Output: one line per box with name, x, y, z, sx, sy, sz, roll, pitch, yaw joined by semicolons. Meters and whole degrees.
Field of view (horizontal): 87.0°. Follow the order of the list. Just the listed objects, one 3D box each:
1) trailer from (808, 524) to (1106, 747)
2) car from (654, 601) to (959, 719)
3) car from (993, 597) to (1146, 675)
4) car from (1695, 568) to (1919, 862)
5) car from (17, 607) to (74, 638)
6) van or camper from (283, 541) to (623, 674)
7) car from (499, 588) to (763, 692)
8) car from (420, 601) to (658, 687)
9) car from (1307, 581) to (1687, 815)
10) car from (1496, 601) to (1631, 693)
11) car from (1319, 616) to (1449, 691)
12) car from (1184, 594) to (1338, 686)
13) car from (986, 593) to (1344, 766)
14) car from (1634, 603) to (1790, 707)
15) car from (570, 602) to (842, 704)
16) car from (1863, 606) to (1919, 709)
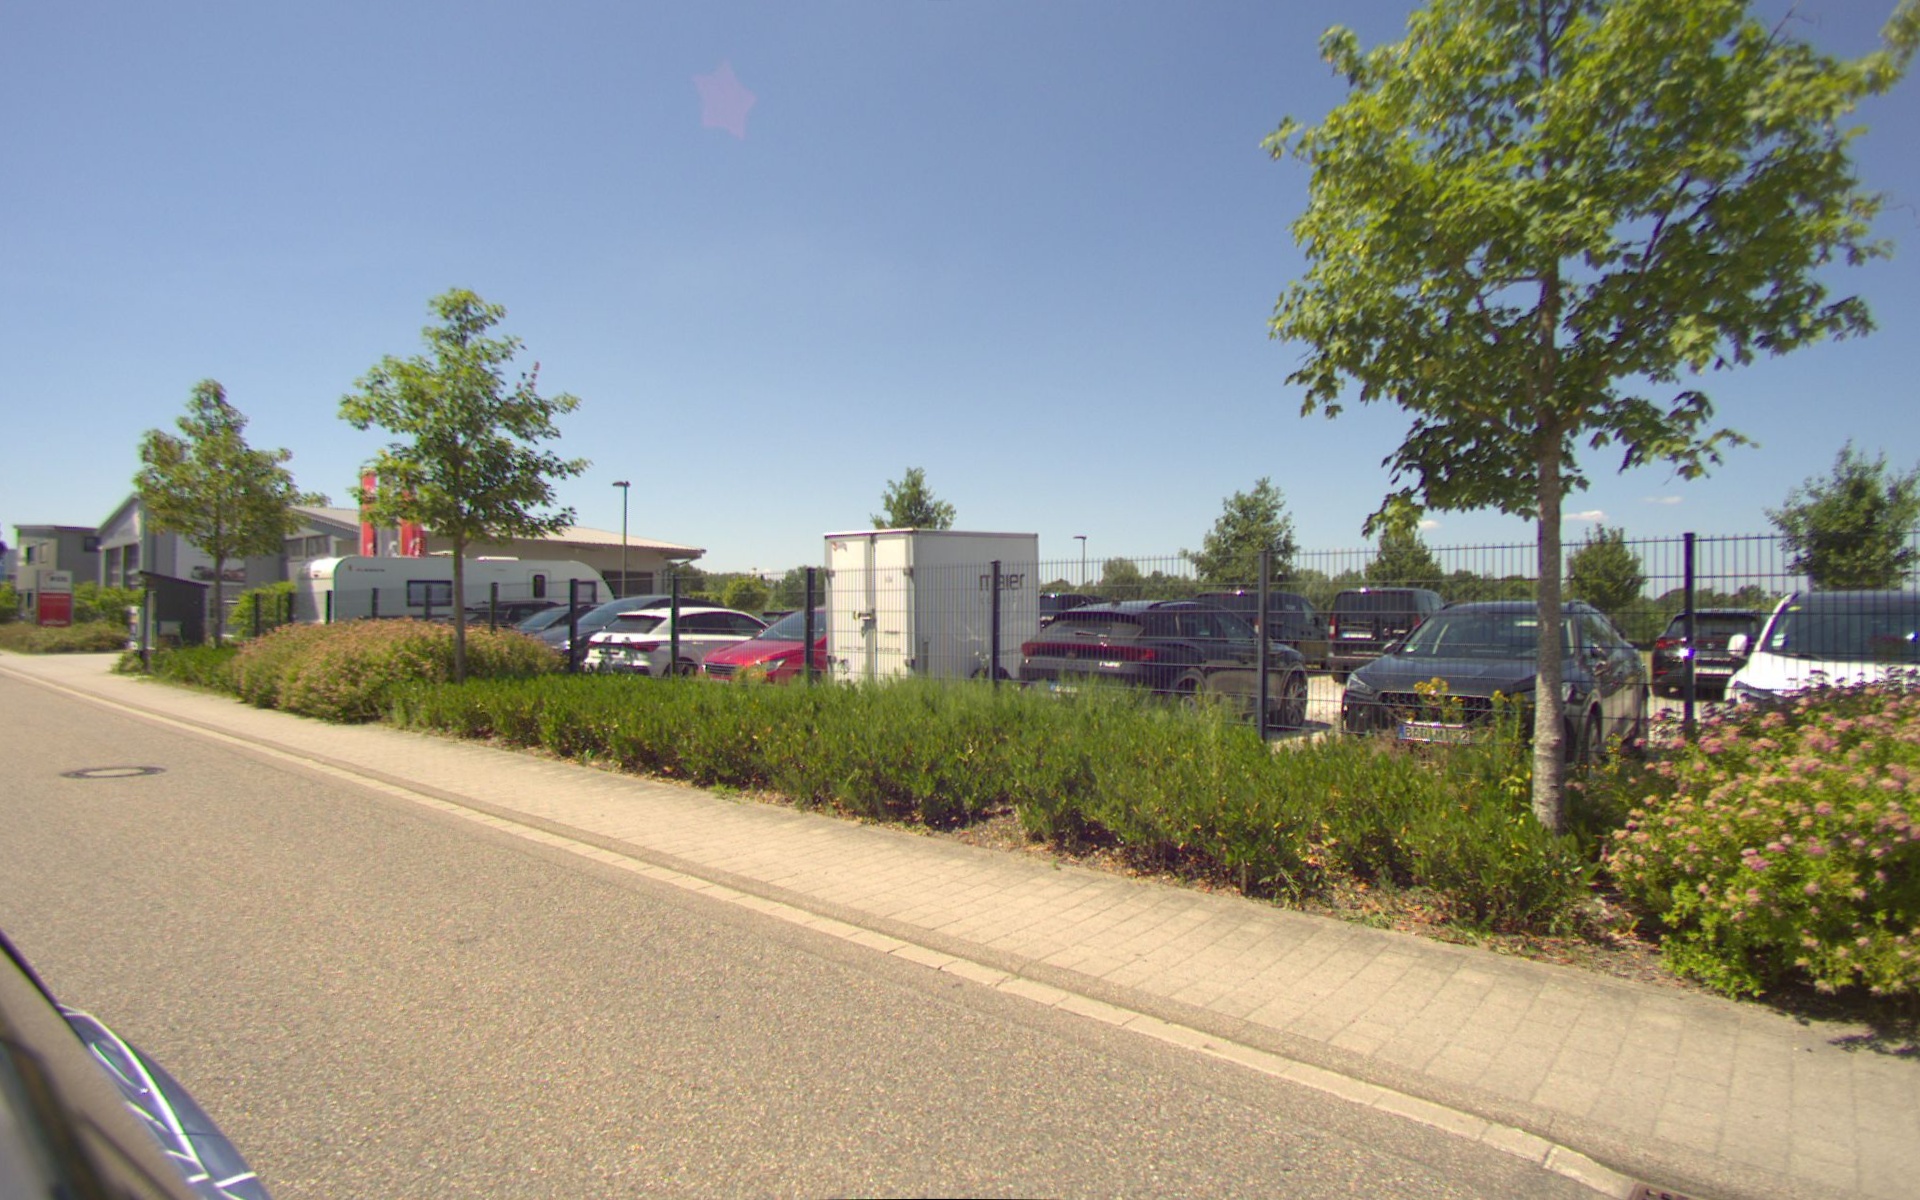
trailer;0.111;0.366;12.900;1.724;2.378;3.949;-1;0;38
car;-2.083;0.779;14.748;1.998;1.463;4.165;-1;-1;39
car;2.821;0.865;25.439;1.998;1.785;3.947;-1;-1;40
car;6.908;0.677;7.435;1.999;1.641;4.682;-1;-1;41
car;-52.587;1.304;58.179;3.998;1.697;1.972;-1;-2;42
van or camper;-11.733;0.235;23.973;2.574;2.704;6.704;-1;-2;41
car;-5.907;0.687;18.694;1.773;1.678;4.469;-1;-1;35
car;-9.020;0.894;22.008;1.776;1.678;4.463;-1;-1;40
car;5.050;0.695;9.137;1.999;1.547;4.682;-1;-1;41
car;10.576;0.757;17.637;1.476;1.425;3.436;-1;-1;40
car;8.199;0.975;19.465;1.493;1.304;2.980;-1;-1;40
car;6.553;0.809;21.815;1.804;1.785;3.947;-1;-1;40
car;2.492;0.752;11.416;1.999;1.547;4.499;-1;-1;41
car;12.454;0.826;16.677;1.861;1.497;3.947;-1;-1;39
car;-4.037;0.802;16.692;1.775;1.463;4.166;-1;-1;38
car;14.581;0.804;15.151;1.476;1.425;3.436;-1;-1;40
